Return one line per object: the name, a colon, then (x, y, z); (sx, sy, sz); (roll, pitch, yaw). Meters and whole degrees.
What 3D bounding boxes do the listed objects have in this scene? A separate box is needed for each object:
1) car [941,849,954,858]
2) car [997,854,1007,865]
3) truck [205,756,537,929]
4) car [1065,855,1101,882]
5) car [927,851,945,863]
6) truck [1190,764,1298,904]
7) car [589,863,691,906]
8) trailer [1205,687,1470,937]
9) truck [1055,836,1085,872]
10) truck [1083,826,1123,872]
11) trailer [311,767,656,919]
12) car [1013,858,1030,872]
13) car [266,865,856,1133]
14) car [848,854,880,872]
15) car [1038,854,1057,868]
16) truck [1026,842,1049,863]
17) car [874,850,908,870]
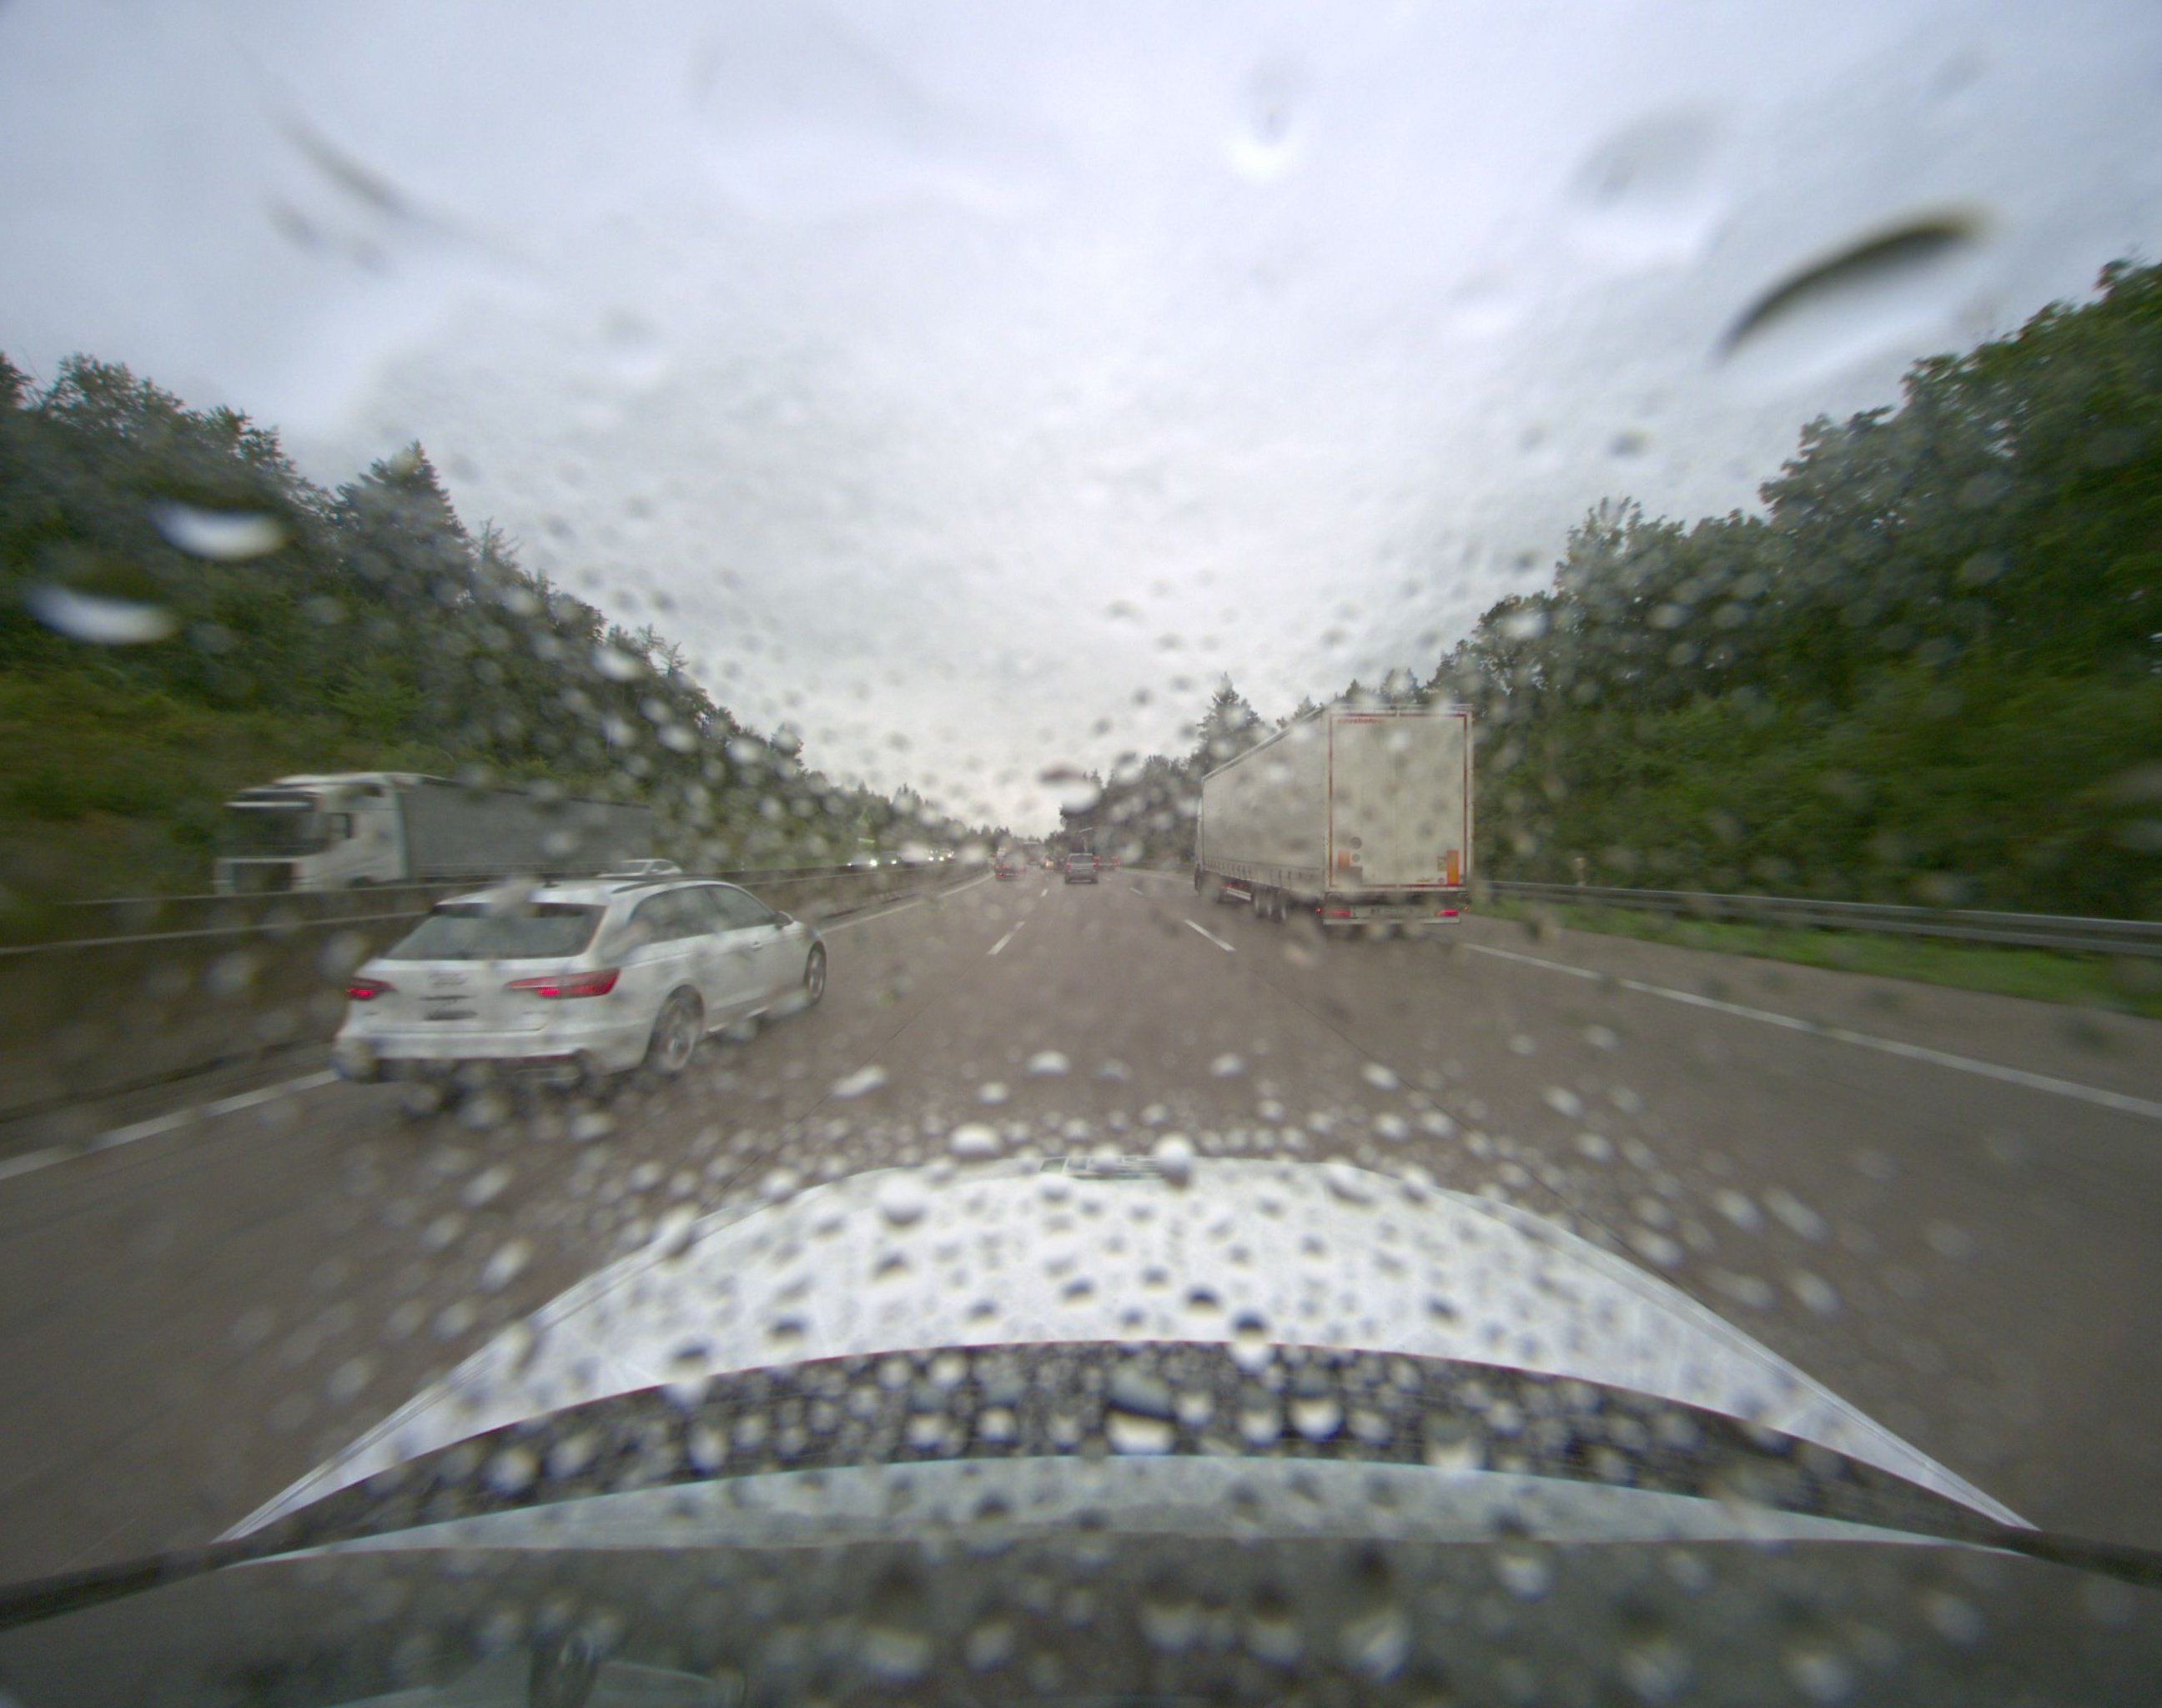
car: (-21.801, -0.034, 133.240); (1.617, 1.393, 3.997); (-1, 0, -1)
car: (-14.800, 1.020, 153.511); (1.722, 2.014, 3.651); (-2, -1, -4)
truck: (-20.574, -0.281, 24.571); (2.737, 4.284, 8.312); (-1, 0, -1)
car: (0.061, 0.743, 44.066); (1.552, 1.351, 3.675); (0, 0, -6)
car: (-18.650, 0.403, 104.726); (1.617, 1.393, 3.997); (-1, 0, -1)
truck: (5.116, -0.590, 26.415); (2.412, 4.068, 4.977); (-1, 0, 0)
car: (-16.120, 1.079, 29.982); (1.617, 1.393, 3.997); (-1, 0, -1)
trailer: (5.129, -0.681, 19.380); (2.412, 4.068, 12.052); (-1, 0, 0)
truck: (-1.038, -0.047, 69.994); (2.264, 2.886, 7.895); (-1, 1, -3)
truck: (2.060, -0.458, 80.782); (3.360, 4.131, 10.430); (-1, 0, -2)
trailer: (-20.644, -0.294, 30.142); (2.737, 4.284, 13.711); (-1, 0, -1)
car: (-6.260, 1.155, 85.794); (1.680, 1.462, 3.679); (0, 0, -4)
car: (-3.556, 0.832, 6.955); (1.706, 1.407, 4.938); (-1, 0, 2)
car: (-17.618, 0.690, 66.229); (1.617, 1.393, 3.997); (-1, 0, -1)
car: (-3.434, 0.704, 83.905); (1.876, 1.473, 3.998); (0, 0, -1)
truck: (-6.419, -0.248, 119.443); (3.077, 2.905, 7.891); (-1, 1, -4)
car: (-14.047, 0.454, 60.427); (1.617, 1.393, 3.997); (-1, 0, -1)
